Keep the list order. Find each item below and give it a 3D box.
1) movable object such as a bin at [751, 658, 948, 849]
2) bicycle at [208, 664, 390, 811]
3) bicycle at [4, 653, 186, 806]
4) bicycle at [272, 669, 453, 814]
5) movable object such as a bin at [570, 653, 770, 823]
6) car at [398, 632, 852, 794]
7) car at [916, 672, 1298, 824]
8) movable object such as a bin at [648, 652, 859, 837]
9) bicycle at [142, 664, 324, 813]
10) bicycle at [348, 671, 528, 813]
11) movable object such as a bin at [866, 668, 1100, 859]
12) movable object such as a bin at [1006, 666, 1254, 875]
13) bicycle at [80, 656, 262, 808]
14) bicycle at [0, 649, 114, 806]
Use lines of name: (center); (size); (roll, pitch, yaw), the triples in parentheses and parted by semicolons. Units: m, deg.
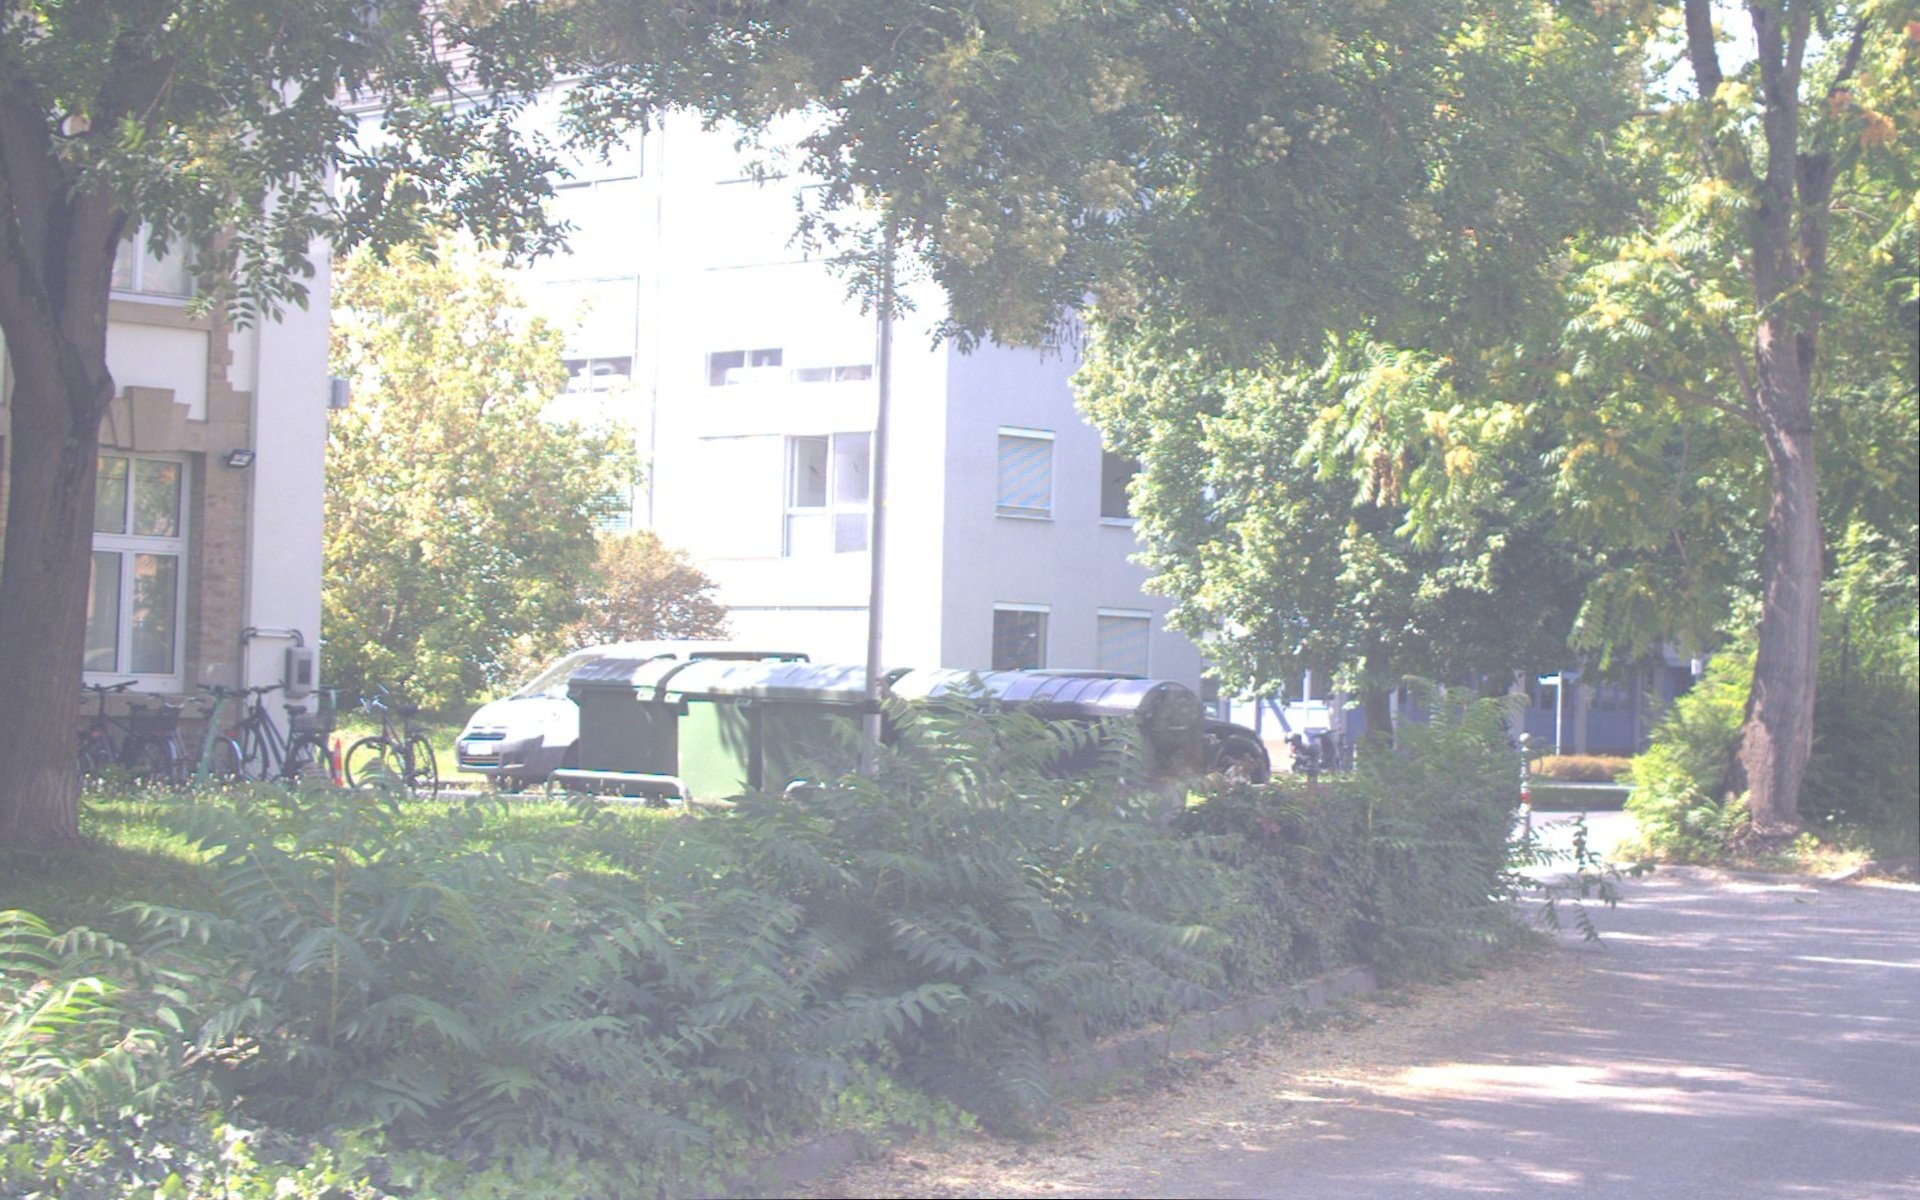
movable object such as a bin: (-0.900, 1.243, 28.034); (1.100, 1.477, 1.098); (1, -1, 40)
bicycle: (-6.071, 1.247, 31.475); (0.607, 1.298, 2.172); (3, -3, -41)
bicycle: (-7.586, 1.119, 30.096); (0.607, 1.298, 2.172); (3, -3, -41)
bicycle: (-5.564, 1.295, 31.930); (0.607, 1.298, 2.172); (3, -3, -41)
movable object such as a bin: (-2.589, 1.230, 30.758); (1.205, 1.439, 1.247); (1, -1, 40)
car: (-4.120, 1.414, 42.798); (5.070, 1.875, 2.501); (3, -2, -42)
car: (1.608, 1.585, 36.922); (3.900, 1.523, 1.707); (2, -2, -38)
movable object such as a bin: (-1.746, 1.217, 29.176); (1.205, 1.491, 1.247); (1, -1, 40)
bicycle: (-6.572, 1.230, 31.005); (0.607, 1.298, 2.172); (3, -3, -41)
bicycle: (-4.970, 1.330, 32.617); (0.607, 1.298, 2.172); (3, -3, -41)
movable object such as a bin: (0.185, 1.292, 27.367); (1.331, 1.427, 1.247); (1, -1, 39)
movable object such as a bin: (1.306, 1.286, 26.234); (1.371, 1.488, 1.333); (2, -1, 32)
bicycle: (-7.010, 1.156, 30.472); (0.607, 1.298, 2.172); (3, -3, -41)
bicycle: (-8.053, 1.076, 29.478); (0.607, 1.298, 2.172); (3, -3, -41)
